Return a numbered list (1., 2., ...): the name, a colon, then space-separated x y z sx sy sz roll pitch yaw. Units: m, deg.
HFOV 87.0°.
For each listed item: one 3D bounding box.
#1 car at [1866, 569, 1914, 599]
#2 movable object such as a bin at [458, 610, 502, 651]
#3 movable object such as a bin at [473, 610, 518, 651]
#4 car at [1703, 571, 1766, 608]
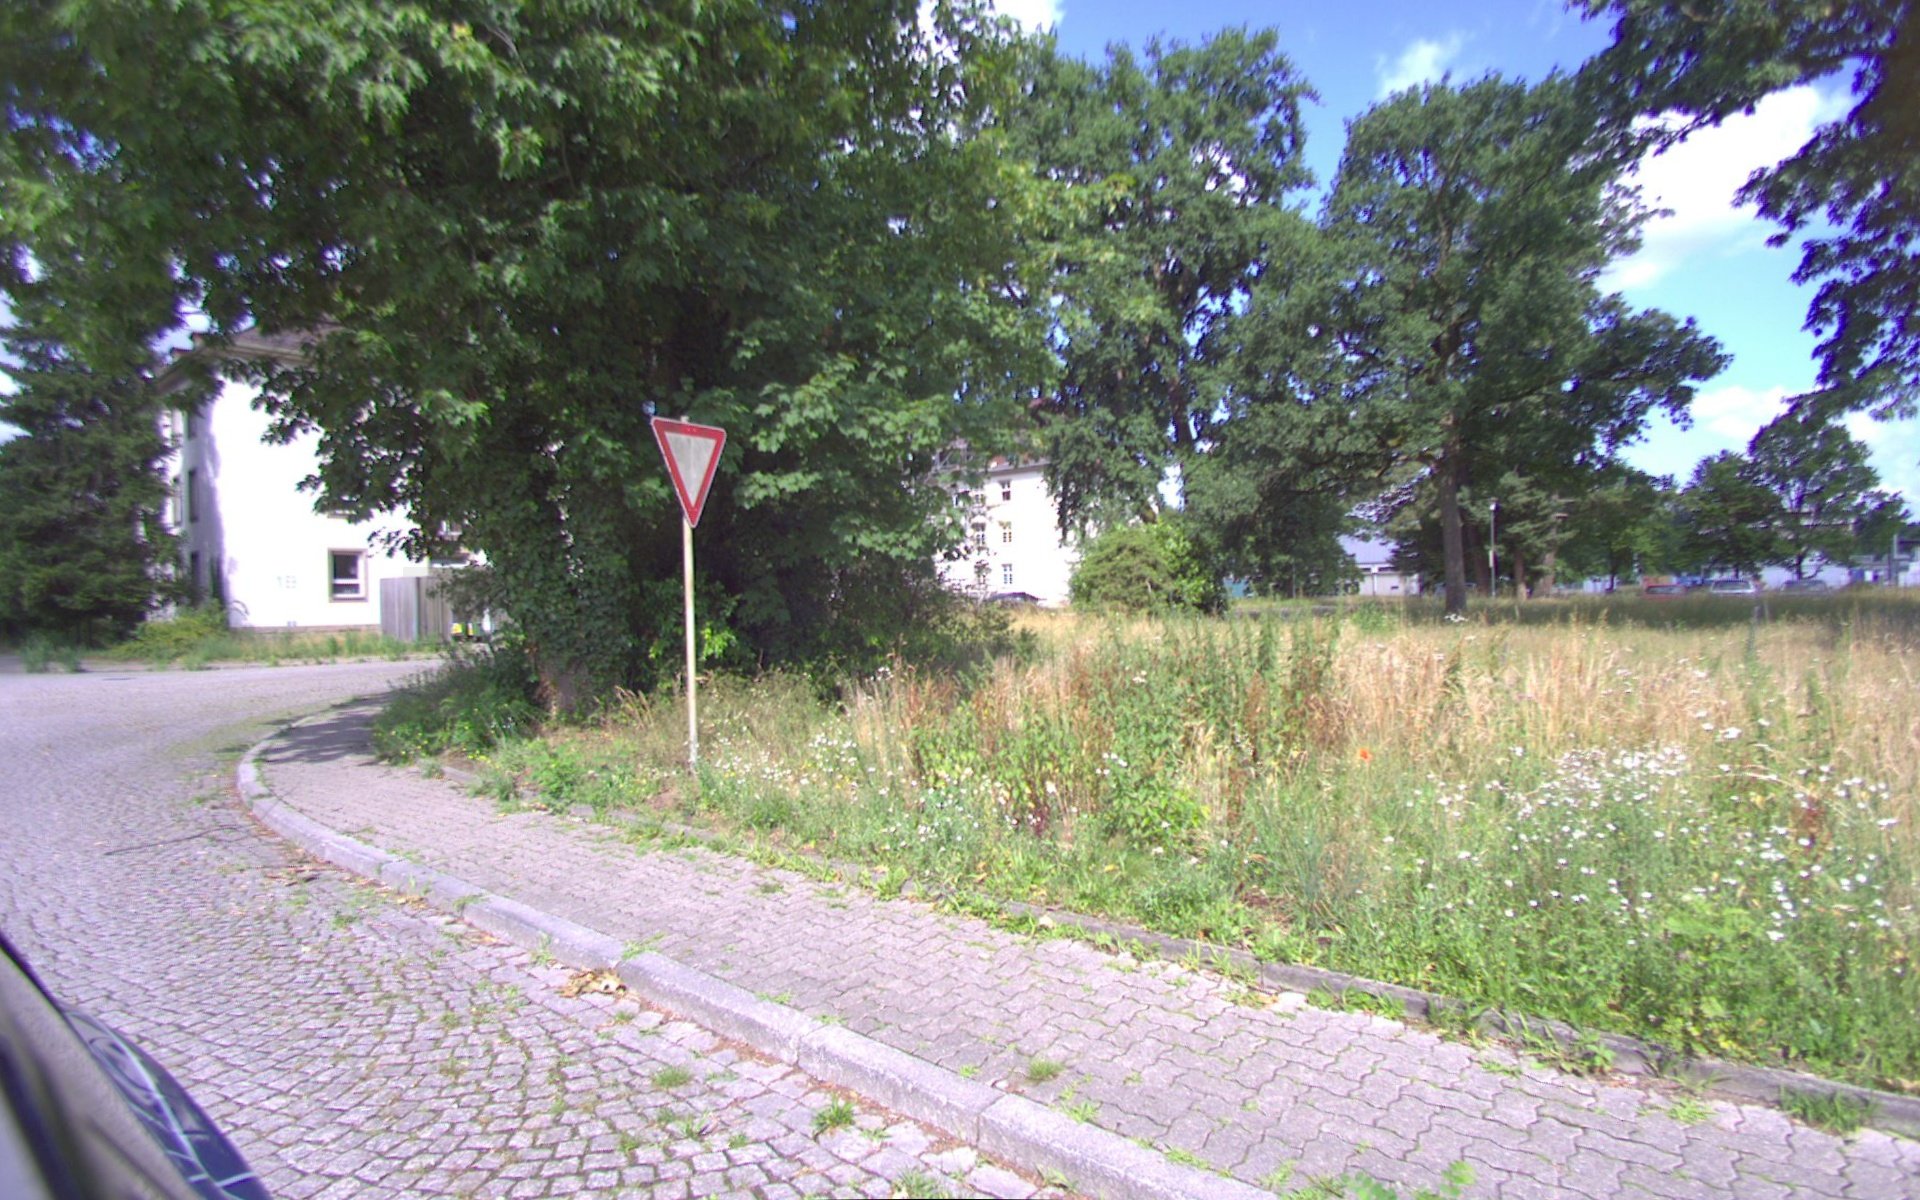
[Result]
1. car: 56.849 -0.942 61.919 1.899 1.715 4.025 -1 -1 39
2. movable object such as a bin: -18.659 1.176 39.321 1.151 1.542 1.158 -1 -1 38
3. movable object such as a bin: -17.710 1.153 38.594 1.151 1.542 1.158 -1 -1 38
4. car: 31.511 -0.419 41.136 1.899 1.423 4.017 -1 -1 39
